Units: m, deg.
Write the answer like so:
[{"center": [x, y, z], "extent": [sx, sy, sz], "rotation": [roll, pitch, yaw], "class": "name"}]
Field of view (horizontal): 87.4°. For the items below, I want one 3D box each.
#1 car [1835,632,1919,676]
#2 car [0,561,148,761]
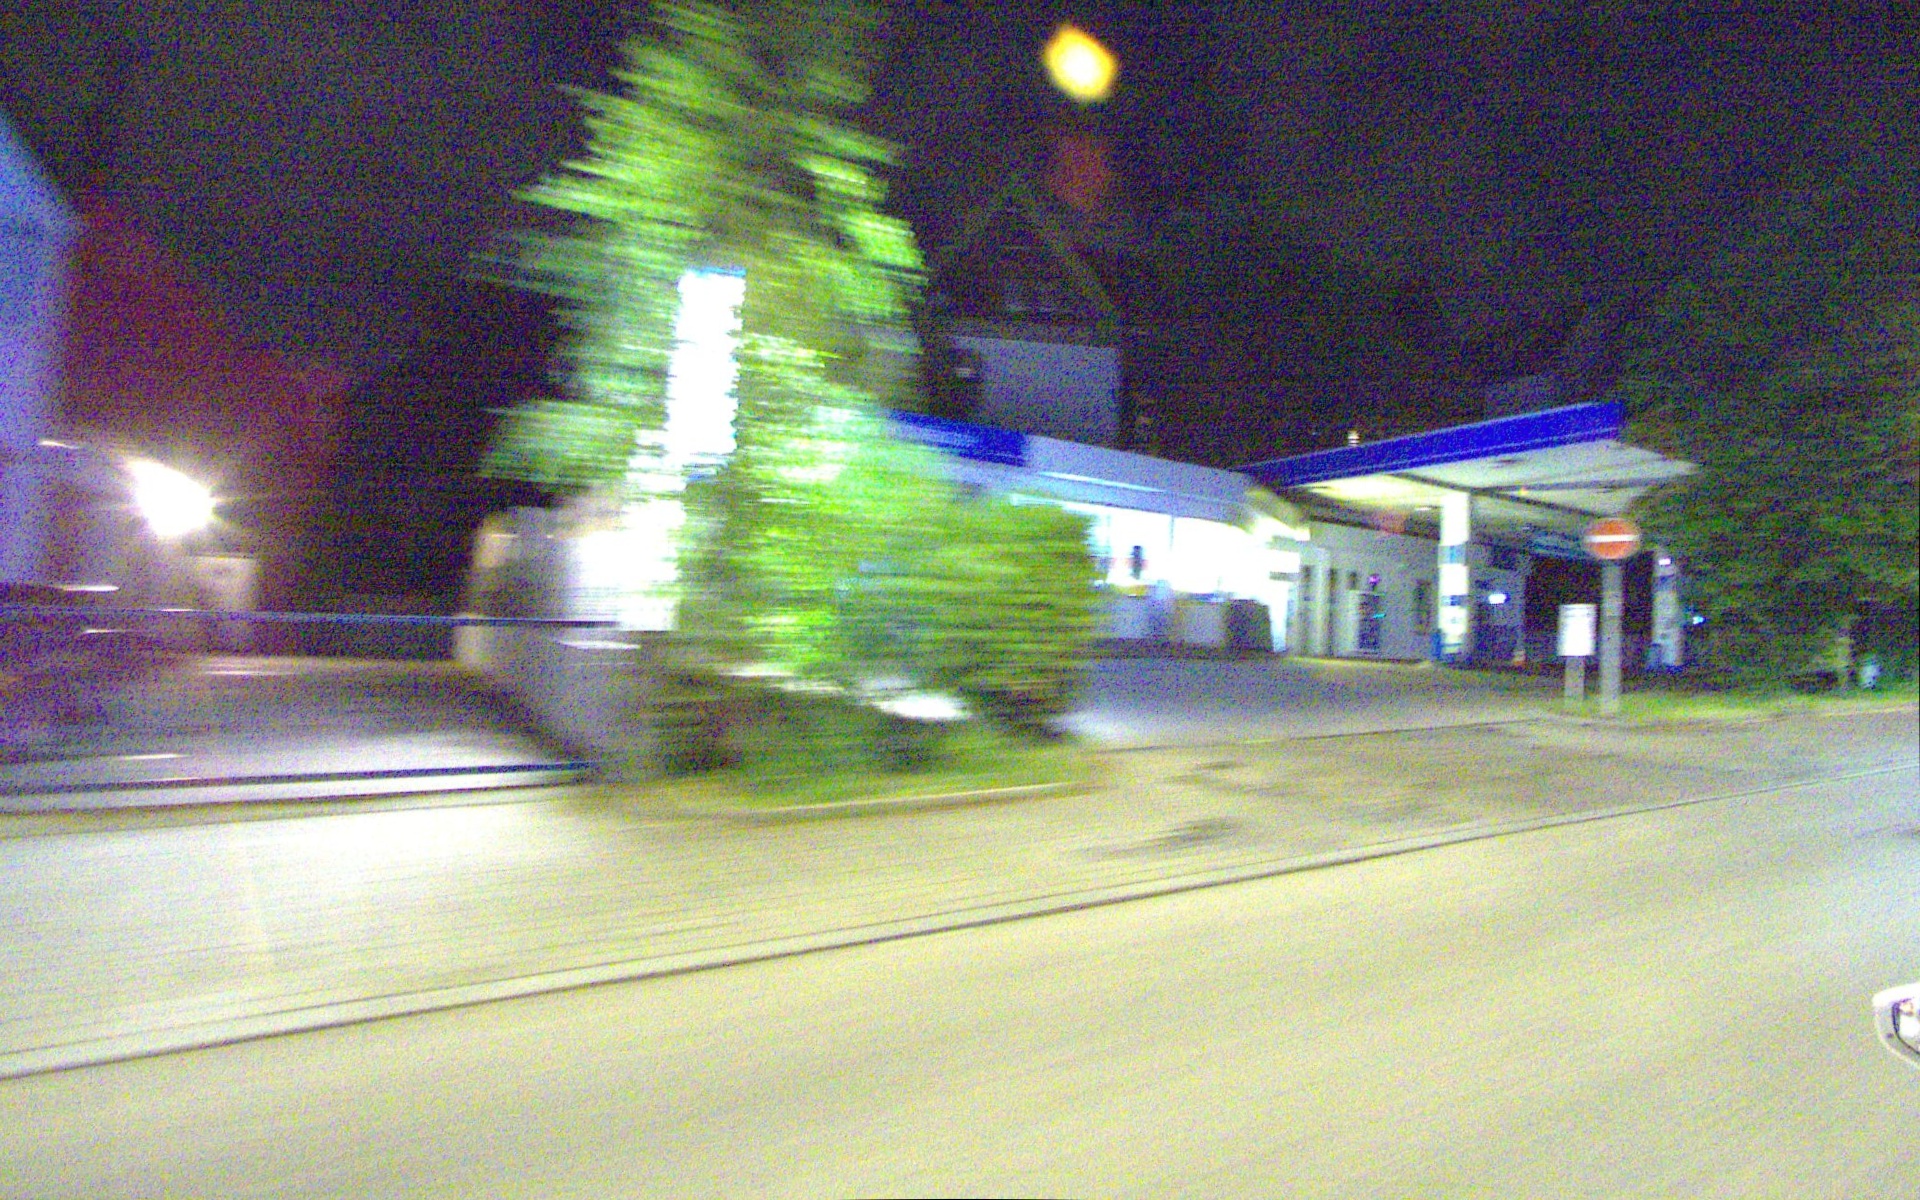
[{"center": [34.638, 1.990, 37.131], "extent": [1.758, 1.472, 3.268], "rotation": [2, -1, 3], "class": "car"}, {"center": [-9.108, 0.425, 9.120], "extent": [1.849, 1.525, 4.209], "rotation": [2, -1, -28], "class": "car"}]
